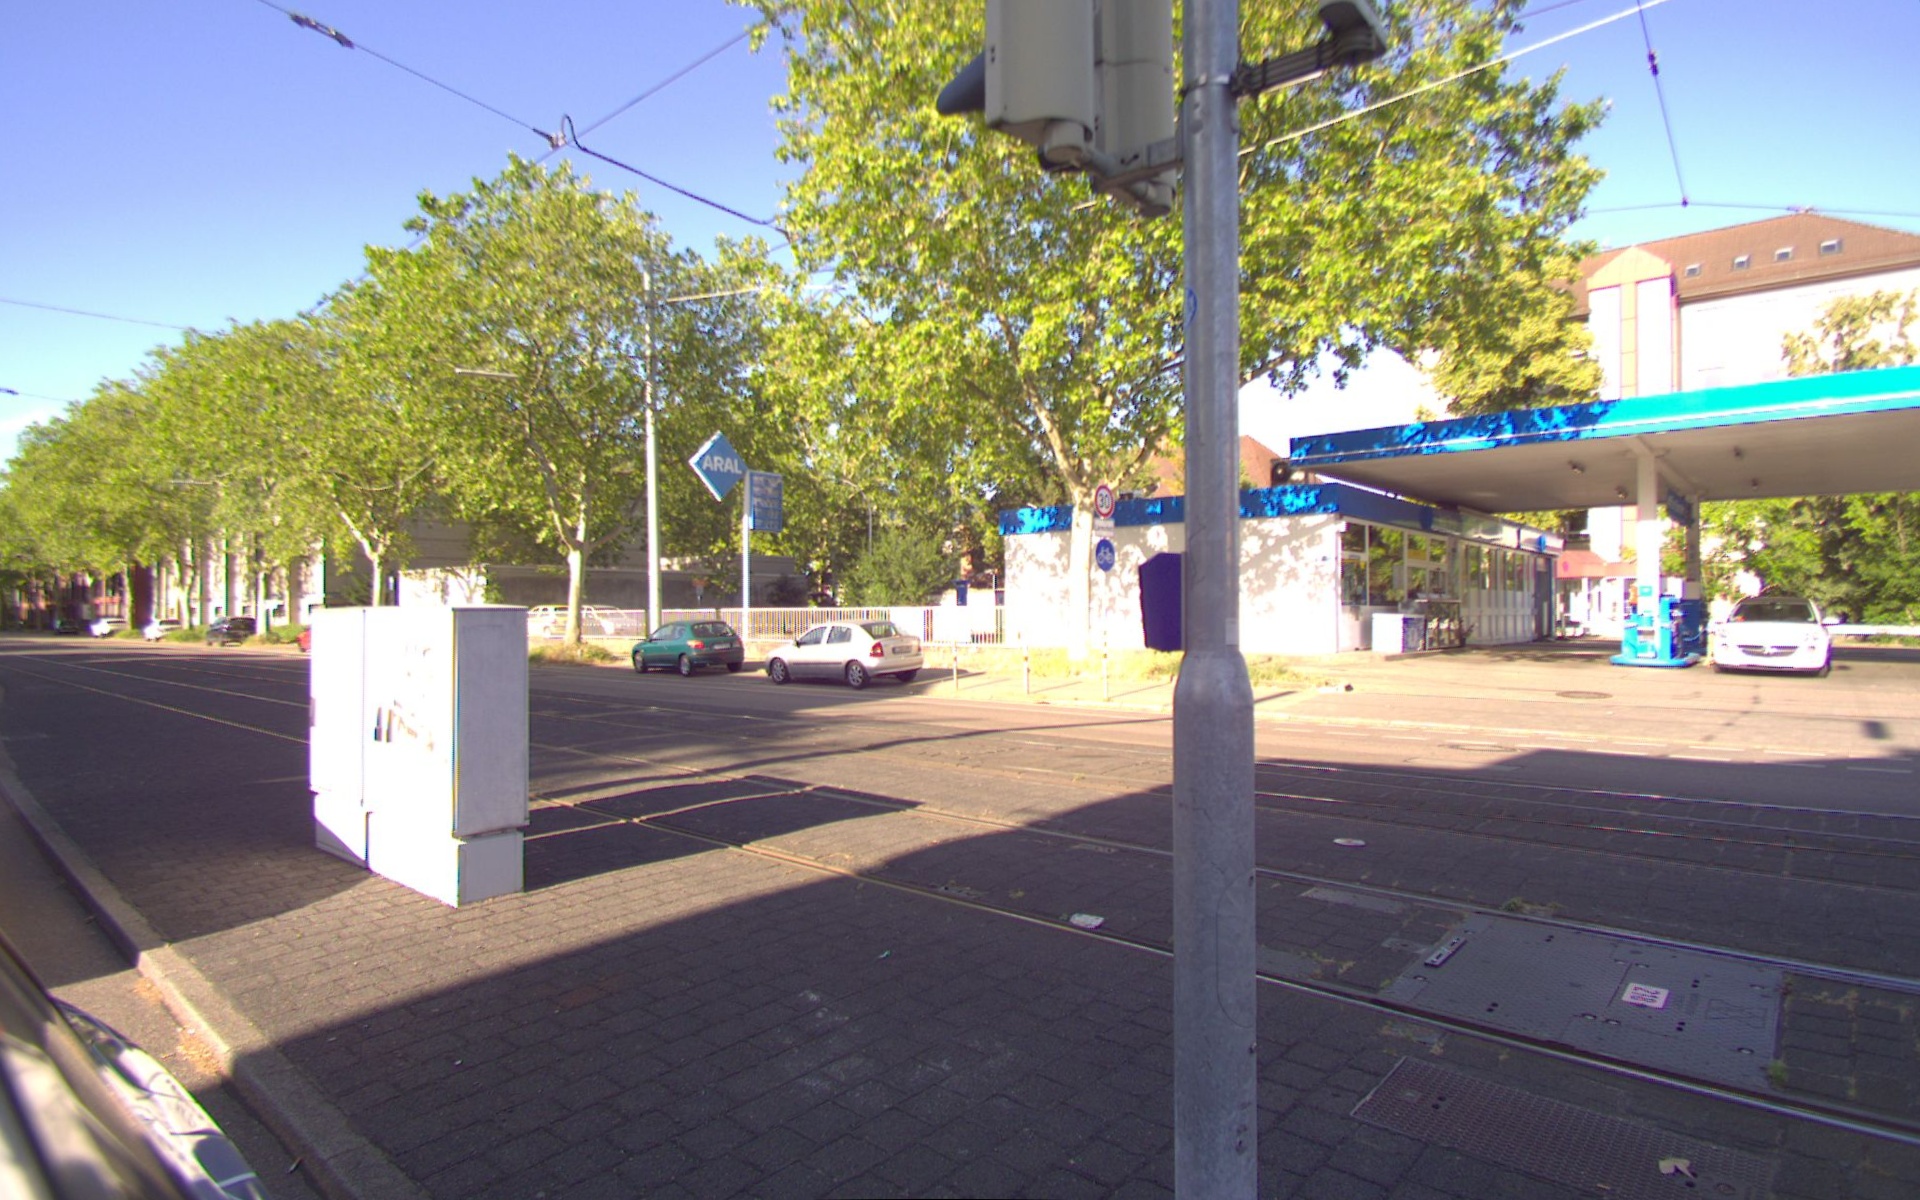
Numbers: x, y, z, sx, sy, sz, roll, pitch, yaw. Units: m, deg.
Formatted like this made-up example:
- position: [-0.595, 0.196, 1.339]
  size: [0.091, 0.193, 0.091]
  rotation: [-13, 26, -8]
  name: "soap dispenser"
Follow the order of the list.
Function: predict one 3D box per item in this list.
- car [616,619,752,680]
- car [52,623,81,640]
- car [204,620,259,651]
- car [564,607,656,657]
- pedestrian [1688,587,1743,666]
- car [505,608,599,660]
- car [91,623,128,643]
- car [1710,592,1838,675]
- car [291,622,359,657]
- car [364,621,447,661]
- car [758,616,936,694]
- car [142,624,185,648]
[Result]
- position: [-7.437, 1.277, 27.079]
  size: [3.858, 1.408, 1.722]
  rotation: [-1, 1, 43]
  name: "car"
- position: [-84.876, 3.014, 96.119]
  size: [3.858, 1.495, 1.735]
  rotation: [-1, 0, 43]
  name: "car"
- position: [-40.679, 1.957, 56.489]
  size: [3.858, 1.557, 1.735]
  rotation: [-1, 0, 43]
  name: "car"
- position: [-15.149, 1.366, 43.693]
  size: [3.996, 2.029, 1.974]
  rotation: [-1, -1, 39]
  name: "car"
- position: [16.137, 0.556, 21.623]
  size: [0.637, 1.642, 0.814]
  rotation: [1, -2, -42]
  name: "pedestrian"
- position: [-17.048, 1.396, 42.266]
  size: [3.996, 2.029, 1.974]
  rotation: [-1, -1, 39]
  name: "car"
- position: [-66.930, 2.581, 79.644]
  size: [3.858, 1.495, 1.735]
  rotation: [-1, 0, 43]
  name: "car"
- position: [15.937, 0.615, 19.785]
  size: [1.793, 1.453, 3.946]
  rotation: [-1, -1, 40]
  name: "car"
- position: [-28.916, 1.776, 46.048]
  size: [3.858, 1.440, 1.695]
  rotation: [-1, 0, 43]
  name: "car"
- position: [-21.988, 1.590, 40.094]
  size: [3.858, 1.468, 1.735]
  rotation: [-1, 0, 43]
  name: "car"
- position: [-2.577, 1.169, 22.599]
  size: [3.857, 1.497, 1.823]
  rotation: [-1, 1, 42]
  name: "car"
- position: [-53.642, 2.401, 68.124]
  size: [3.858, 1.495, 1.735]
  rotation: [-1, 0, 43]
  name: "car"
